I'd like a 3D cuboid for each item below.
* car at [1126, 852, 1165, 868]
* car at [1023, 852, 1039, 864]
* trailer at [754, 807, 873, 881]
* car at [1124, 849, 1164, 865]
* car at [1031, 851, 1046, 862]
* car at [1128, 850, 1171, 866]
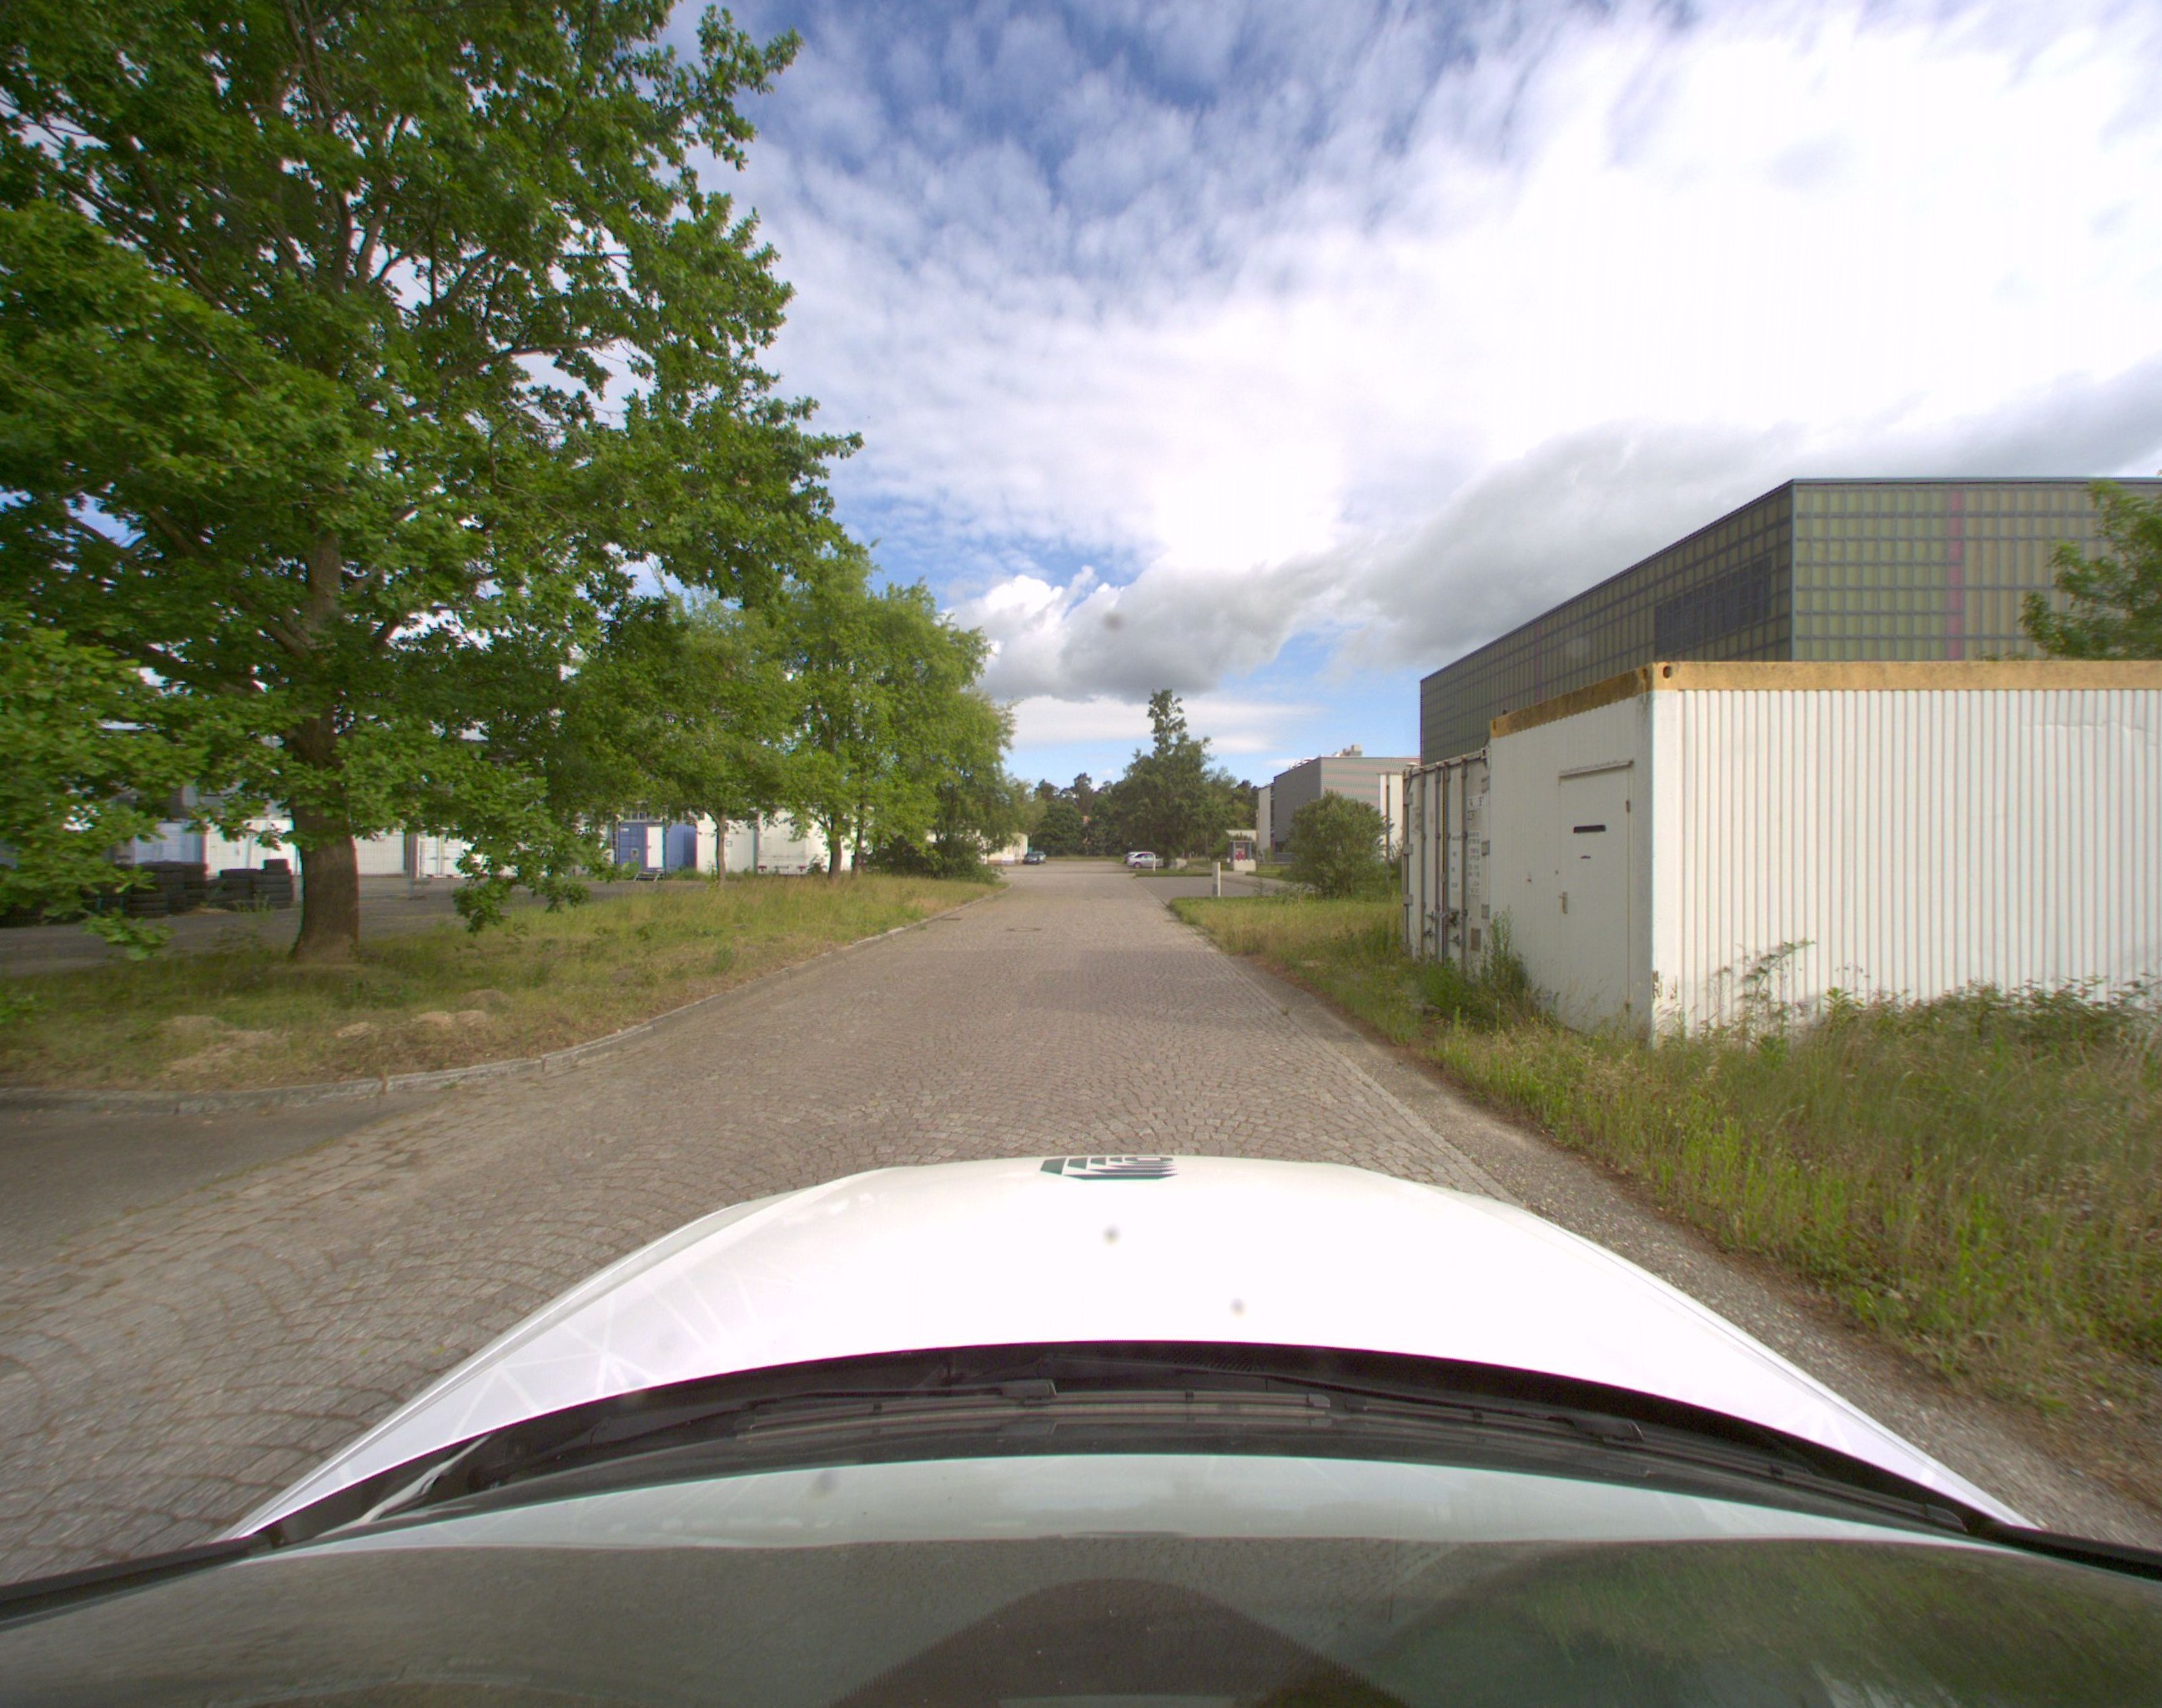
[{"bbox_3d":[5.917,0.558,74.874,3.509,1.362,1.623,-2,0,1],"label":"car"},{"bbox_3d":[-5.907,0.416,96.603,1.642,1.369,3.999,0,0,1],"label":"car"},{"bbox_3d":[-14.441,-0.505,45.061,2.614,3.598,10.187,0,0,4],"label":"trailer"},{"bbox_3d":[6.408,0.295,82.697,3.970,1.475,1.654,-2,0,1],"label":"car"},{"bbox_3d":[-5.543,0.334,106.944,1.642,1.458,3.999,0,0,1],"label":"car"},{"bbox_3d":[6.521,0.371,77.562,3.970,1.448,1.654,-2,0,1],"label":"car"}]
